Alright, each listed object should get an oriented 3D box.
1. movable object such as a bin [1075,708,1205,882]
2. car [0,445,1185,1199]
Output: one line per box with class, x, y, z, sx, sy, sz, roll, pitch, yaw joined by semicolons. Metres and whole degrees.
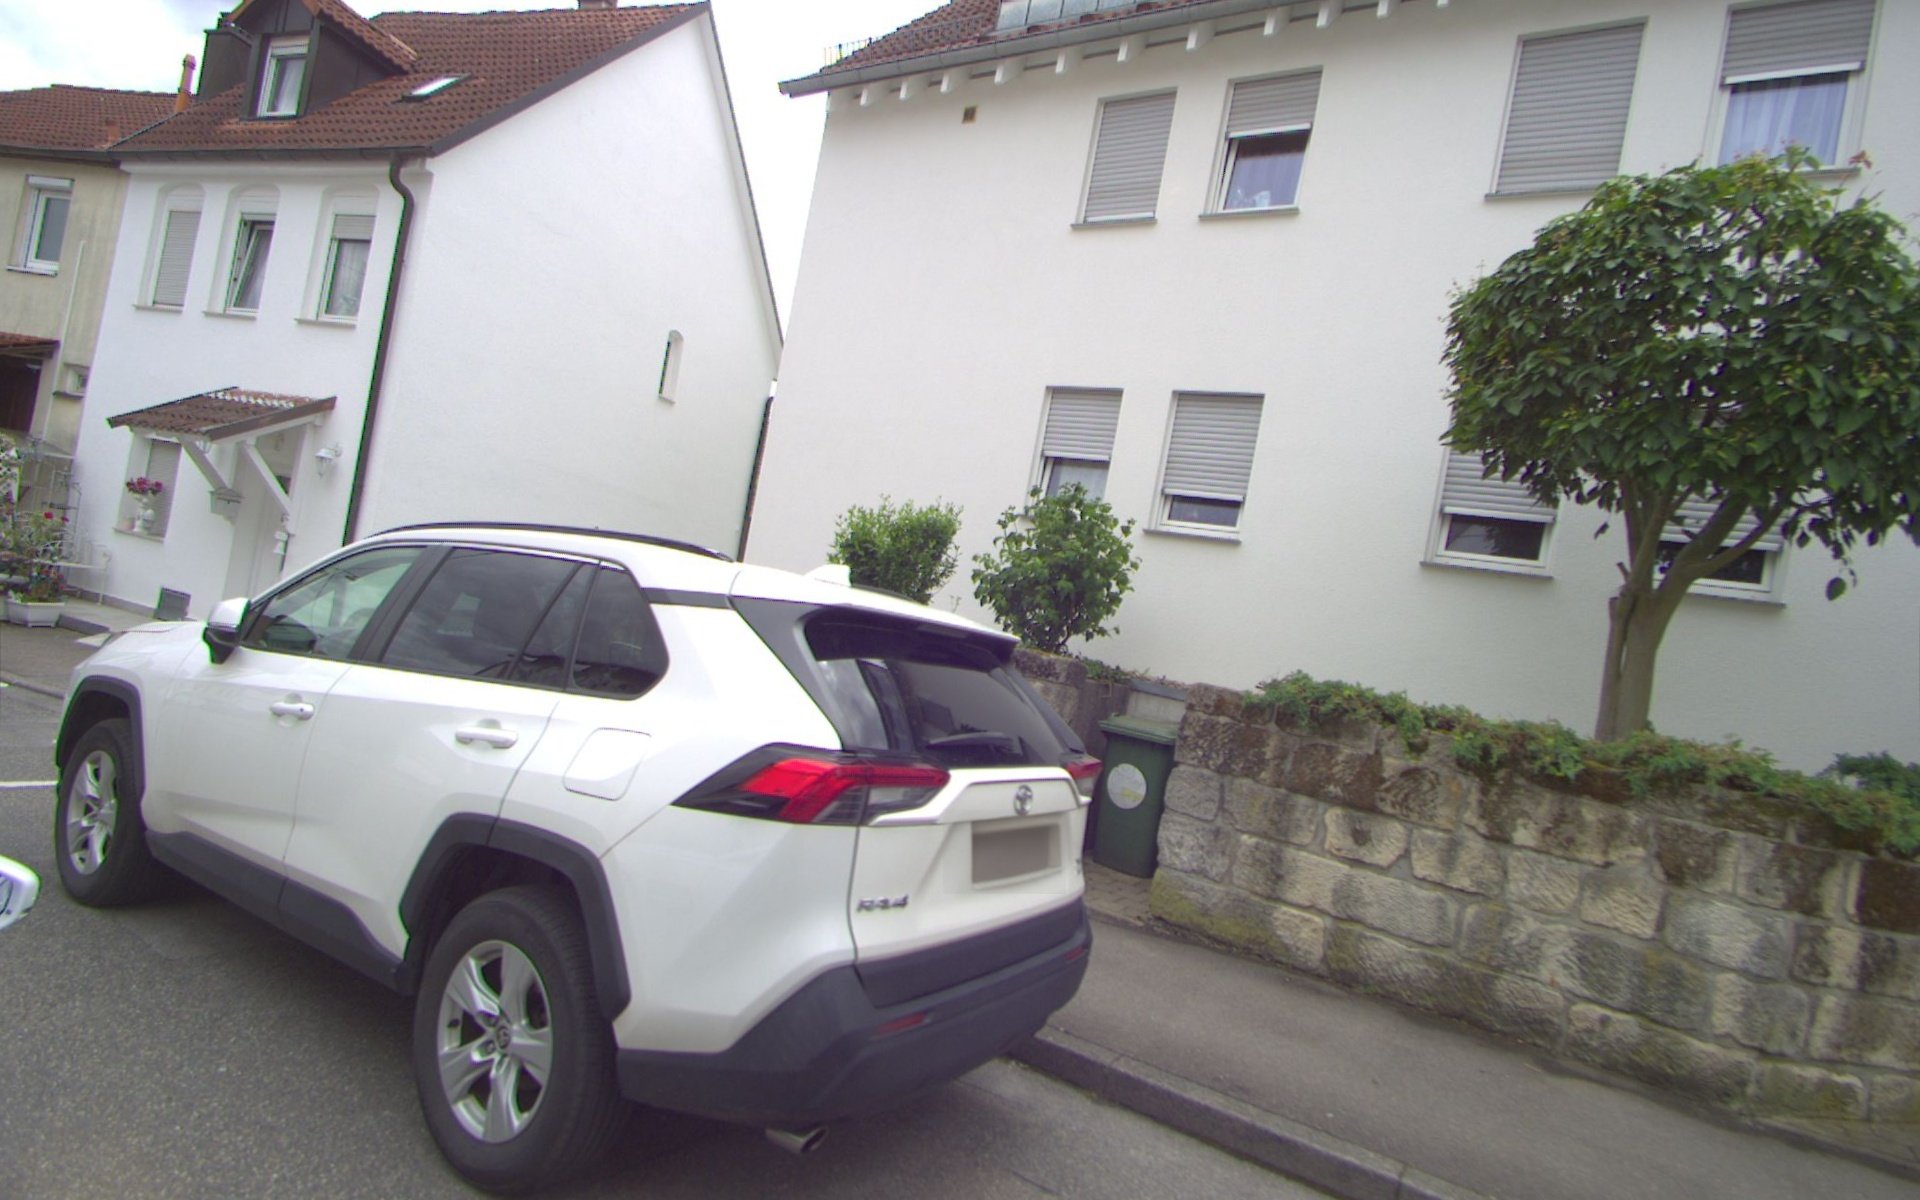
movable object such as a bin;1.271;1.337;7.071;0.609;1.051;0.604;8;0;30
car;-1.653;0.563;3.949;4.386;1.657;1.952;8;-3;32
